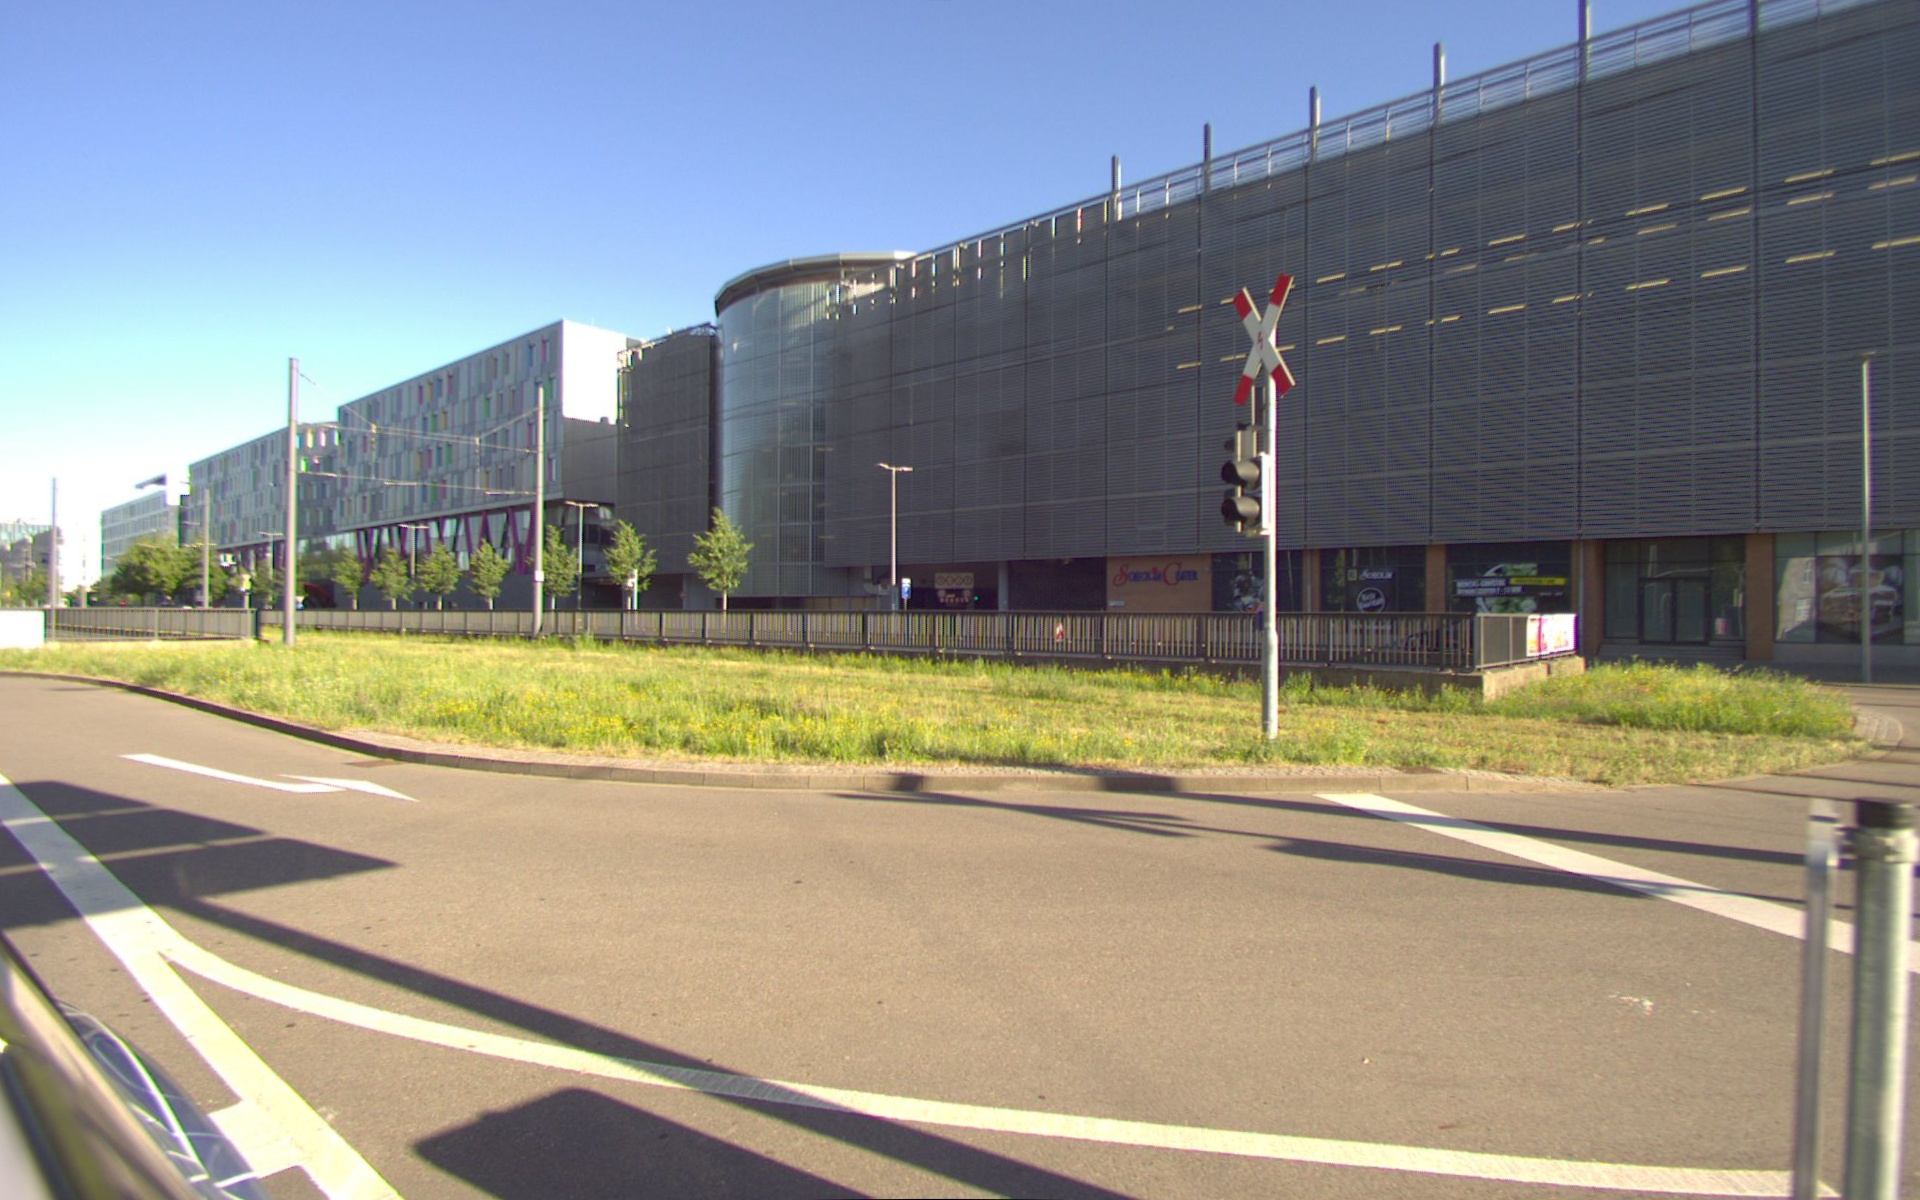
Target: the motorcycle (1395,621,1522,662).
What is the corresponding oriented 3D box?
[{"bbox_3d":[18.978,1.543,38.588,3.998,1.464,1.972,-1,-2,41],"label":"motorcycle"}]
